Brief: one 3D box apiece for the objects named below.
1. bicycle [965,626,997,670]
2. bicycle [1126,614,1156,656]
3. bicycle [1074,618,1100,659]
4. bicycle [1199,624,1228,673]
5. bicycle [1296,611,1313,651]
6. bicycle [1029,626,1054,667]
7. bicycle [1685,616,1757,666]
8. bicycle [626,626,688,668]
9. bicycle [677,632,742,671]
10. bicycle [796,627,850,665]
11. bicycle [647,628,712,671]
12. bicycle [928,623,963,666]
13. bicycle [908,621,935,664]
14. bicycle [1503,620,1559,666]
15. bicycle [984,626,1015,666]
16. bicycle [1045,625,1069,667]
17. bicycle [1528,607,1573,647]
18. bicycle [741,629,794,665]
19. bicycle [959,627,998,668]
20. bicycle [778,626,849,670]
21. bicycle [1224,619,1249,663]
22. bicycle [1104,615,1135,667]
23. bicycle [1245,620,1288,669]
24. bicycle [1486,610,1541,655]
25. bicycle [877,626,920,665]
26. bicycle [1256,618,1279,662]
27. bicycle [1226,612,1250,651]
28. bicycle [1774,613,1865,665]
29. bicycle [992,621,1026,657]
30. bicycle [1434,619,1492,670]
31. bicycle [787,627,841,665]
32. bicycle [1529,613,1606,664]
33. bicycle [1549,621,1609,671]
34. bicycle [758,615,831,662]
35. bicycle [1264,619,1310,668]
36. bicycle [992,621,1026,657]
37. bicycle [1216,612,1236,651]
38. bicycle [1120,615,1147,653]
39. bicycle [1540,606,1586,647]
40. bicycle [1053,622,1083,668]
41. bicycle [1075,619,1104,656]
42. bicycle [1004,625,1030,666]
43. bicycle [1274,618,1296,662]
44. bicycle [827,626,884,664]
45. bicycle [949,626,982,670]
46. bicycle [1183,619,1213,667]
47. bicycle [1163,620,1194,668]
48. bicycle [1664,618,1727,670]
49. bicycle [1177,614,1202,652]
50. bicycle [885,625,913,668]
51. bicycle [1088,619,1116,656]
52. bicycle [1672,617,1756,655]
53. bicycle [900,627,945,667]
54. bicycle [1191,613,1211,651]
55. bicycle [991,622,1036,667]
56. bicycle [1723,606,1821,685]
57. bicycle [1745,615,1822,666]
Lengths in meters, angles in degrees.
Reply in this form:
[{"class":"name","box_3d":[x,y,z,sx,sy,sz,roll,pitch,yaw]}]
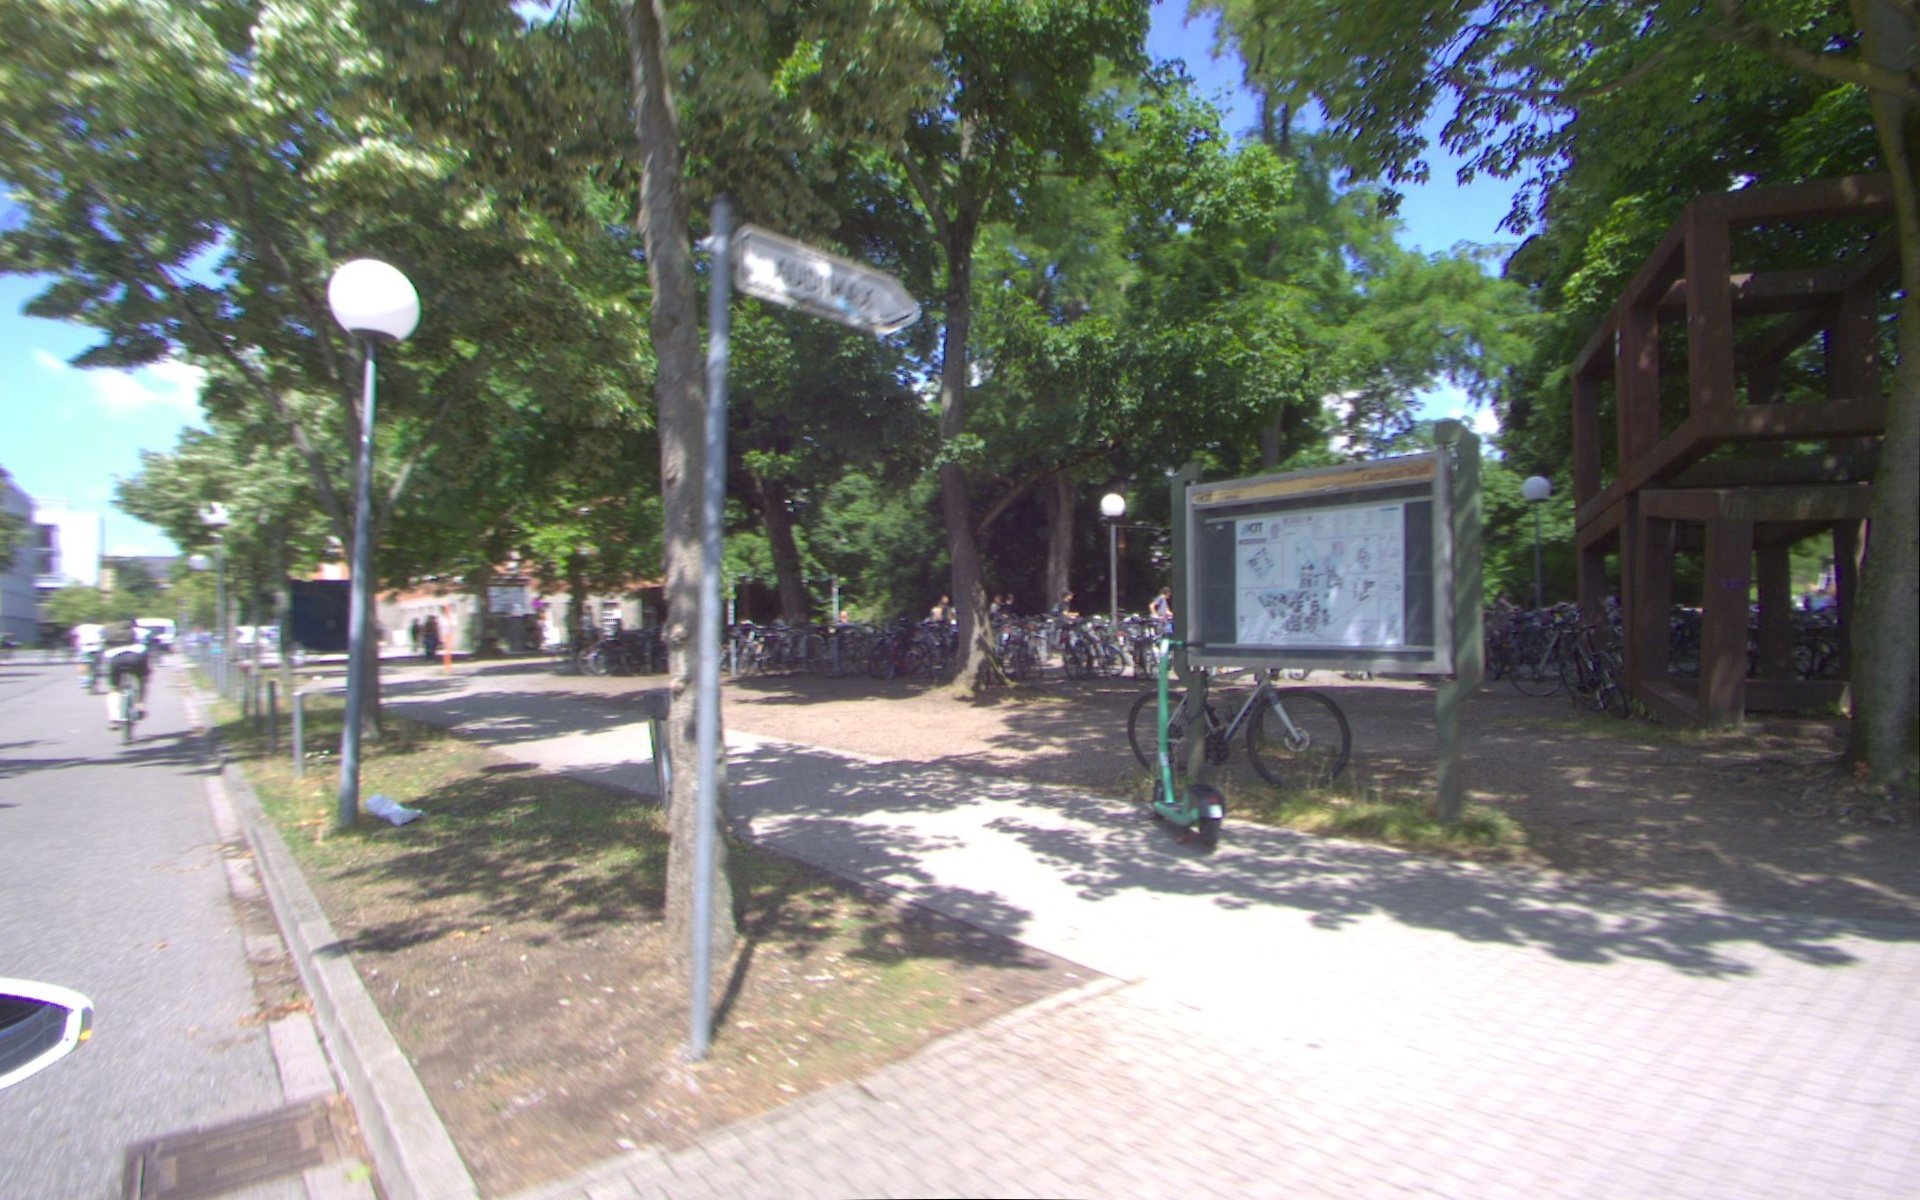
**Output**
[{"class":"bicycle","box_3d":[0.532,1.140,24.393,0.469,0.991,1.903,-2,-1,10]},{"class":"bicycle","box_3d":[4.545,0.852,25.125,0.372,0.991,1.899,-2,-1,21]},{"class":"bicycle","box_3d":[3.243,0.958,25.518,0.470,0.991,1.902,-2,-1,12]},{"class":"bicycle","box_3d":[5.599,1.048,22.059,0.372,0.991,1.899,-2,-1,21]},{"class":"bicycle","box_3d":[9.981,0.875,29.006,0.342,1.108,1.609,-2,-1,15]},{"class":"bicycle","box_3d":[2.113,1.175,25.671,0.371,0.991,1.902,-2,-1,12]},{"class":"bicycle","box_3d":[17.459,0.945,23.009,0.346,1.097,1.471,2,-2,-9]},{"class":"bicycle","box_3d":[-8.788,1.351,29.091,0.603,1.133,1.801,-2,-1,29]},{"class":"bicycle","box_3d":[-6.949,1.421,27.884,0.603,0.991,1.895,-2,-1,29]},{"class":"bicycle","box_3d":[-3.847,1.276,28.337,0.471,0.991,1.896,-2,-1,28]},{"class":"bicycle","box_3d":[-7.961,1.389,28.528,0.603,1.133,1.895,-2,-1,29]},{"class":"bicycle","box_3d":[-0.346,1.079,24.675,0.469,0.991,1.903,-2,-1,11]},{"class":"bicycle","box_3d":[-0.937,1.037,24.801,0.469,0.991,1.904,-2,-1,3]},{"class":"bicycle","box_3d":[13.145,0.977,23.099,0.371,0.991,1.802,-2,-1,5]},{"class":"bicycle","box_3d":[1.049,1.193,26.354,0.469,0.991,1.902,-2,-1,12]},{"class":"bicycle","box_3d":[2.494,1.147,25.515,0.371,0.991,1.902,-2,-1,12]},{"class":"bicycle","box_3d":[16.703,0.750,28.347,0.341,1.108,1.611,-2,-1,2]},{"class":"bicycle","box_3d":[-5.656,1.366,29.565,0.471,0.991,1.897,-2,-1,26]},{"class":"bicycle","box_3d":[0.505,1.248,26.595,0.301,0.991,1.879,-2,-1,24]},{"class":"bicycle","box_3d":[-3.724,1.221,25.380,1.876,1.097,0.476,-2,0,31]},{"class":"bicycle","box_3d":[6.642,0.970,24.047,0.372,0.991,1.899,-2,-1,21]},{"class":"bicycle","box_3d":[3.656,0.915,22.878,0.470,1.097,1.902,-2,-1,15]},{"class":"bicycle","box_3d":[6.554,0.929,21.478,0.371,0.991,1.904,-2,-1,1]},{"class":"bicycle","box_3d":[12.767,0.726,23.141,0.371,0.991,1.802,-2,-1,5]},{"class":"bicycle","box_3d":[-1.682,1.246,27.793,0.527,0.991,1.901,-2,-1,17]},{"class":"bicycle","box_3d":[7.371,0.937,23.957,0.372,0.991,1.899,-2,-1,21]},{"class":"bicycle","box_3d":[8.355,0.930,30.066,0.470,1.108,1.607,-2,-1,22]},{"class":"bicycle","box_3d":[19.195,0.868,22.405,0.469,1.097,1.688,2,-2,-6]},{"class":"bicycle","box_3d":[1.619,1.270,32.965,0.343,1.108,1.602,-2,0,32]},{"class":"bicycle","box_3d":[10.503,0.907,20.979,0.469,0.991,1.903,-2,-1,8]},{"class":"bicycle","box_3d":[-4.150,1.290,28.553,0.471,0.991,1.896,-2,-1,28]},{"class":"bicycle","box_3d":[12.421,0.773,20.539,0.469,0.991,1.904,-2,-1,2]},{"class":"bicycle","box_3d":[13.967,1.039,22.617,0.346,1.097,1.472,2,-2,-4]},{"class":"bicycle","box_3d":[-4.054,0.945,24.466,1.876,1.097,0.476,-2,0,31]},{"class":"bicycle","box_3d":[6.995,0.917,21.472,0.371,0.991,1.904,-2,-1,1]},{"class":"bicycle","box_3d":[1.613,1.271,32.953,0.343,1.108,1.602,-2,0,32]},{"class":"bicycle","box_3d":[8.030,0.941,30.200,0.342,1.108,1.607,-2,-1,22]},{"class":"bicycle","box_3d":[5.385,1.045,31.053,0.470,1.108,1.607,-2,-1,22]},{"class":"bicycle","box_3d":[17.043,0.735,28.334,0.341,1.108,1.611,-2,-1,2]},{"class":"bicycle","box_3d":[2.515,1.028,23.189,0.469,0.991,1.902,-2,-1,12]},{"class":"bicycle","box_3d":[4.096,1.182,31.569,0.470,1.108,1.607,-2,-1,22]},{"class":"bicycle","box_3d":[1.507,1.181,26.366,0.371,0.991,1.902,-2,-1,12]},{"class":"bicycle","box_3d":[7.703,0.929,23.700,0.372,0.991,1.899,-2,-1,21]},{"class":"bicycle","box_3d":[-2.911,1.242,28.036,0.603,0.991,1.895,-2,-1,29]},{"class":"bicycle","box_3d":[0.145,1.163,24.464,0.469,0.991,1.903,-2,-1,10]},{"class":"bicycle","box_3d":[5.293,0.928,22.186,0.372,0.991,1.899,-2,-1,21]},{"class":"bicycle","box_3d":[4.860,0.953,22.197,0.372,0.991,1.899,-2,-1,21]},{"class":"bicycle","box_3d":[16.420,0.979,22.387,0.346,1.097,1.473,2,-2,2]},{"class":"bicycle","box_3d":[7.013,0.984,30.574,0.470,1.108,1.607,-2,-1,22]},{"class":"bicycle","box_3d":[-1.499,1.136,24.837,0.469,0.991,1.904,-2,-1,3]},{"class":"bicycle","box_3d":[4.460,1.167,31.477,0.470,1.108,1.607,-2,-1,22]},{"class":"bicycle","box_3d":[20.352,0.968,27.040,1.719,0.944,0.586,-2,2,8]},{"class":"bicycle","box_3d":[-0.998,1.253,26.827,0.470,0.991,1.899,-2,-1,21]},{"class":"bicycle","box_3d":[7.335,0.972,30.445,0.342,1.108,1.607,-2,-1,22]},{"class":"bicycle","box_3d":[1.289,1.026,23.716,0.470,0.991,1.899,-2,-1,21]},{"class":"bicycle","box_3d":[12.802,0.693,15.846,0.406,1.185,1.844,-1,-1,12]},{"class":"bicycle","box_3d":[18.480,0.906,22.504,0.469,1.097,1.689,2,-2,5]}]
